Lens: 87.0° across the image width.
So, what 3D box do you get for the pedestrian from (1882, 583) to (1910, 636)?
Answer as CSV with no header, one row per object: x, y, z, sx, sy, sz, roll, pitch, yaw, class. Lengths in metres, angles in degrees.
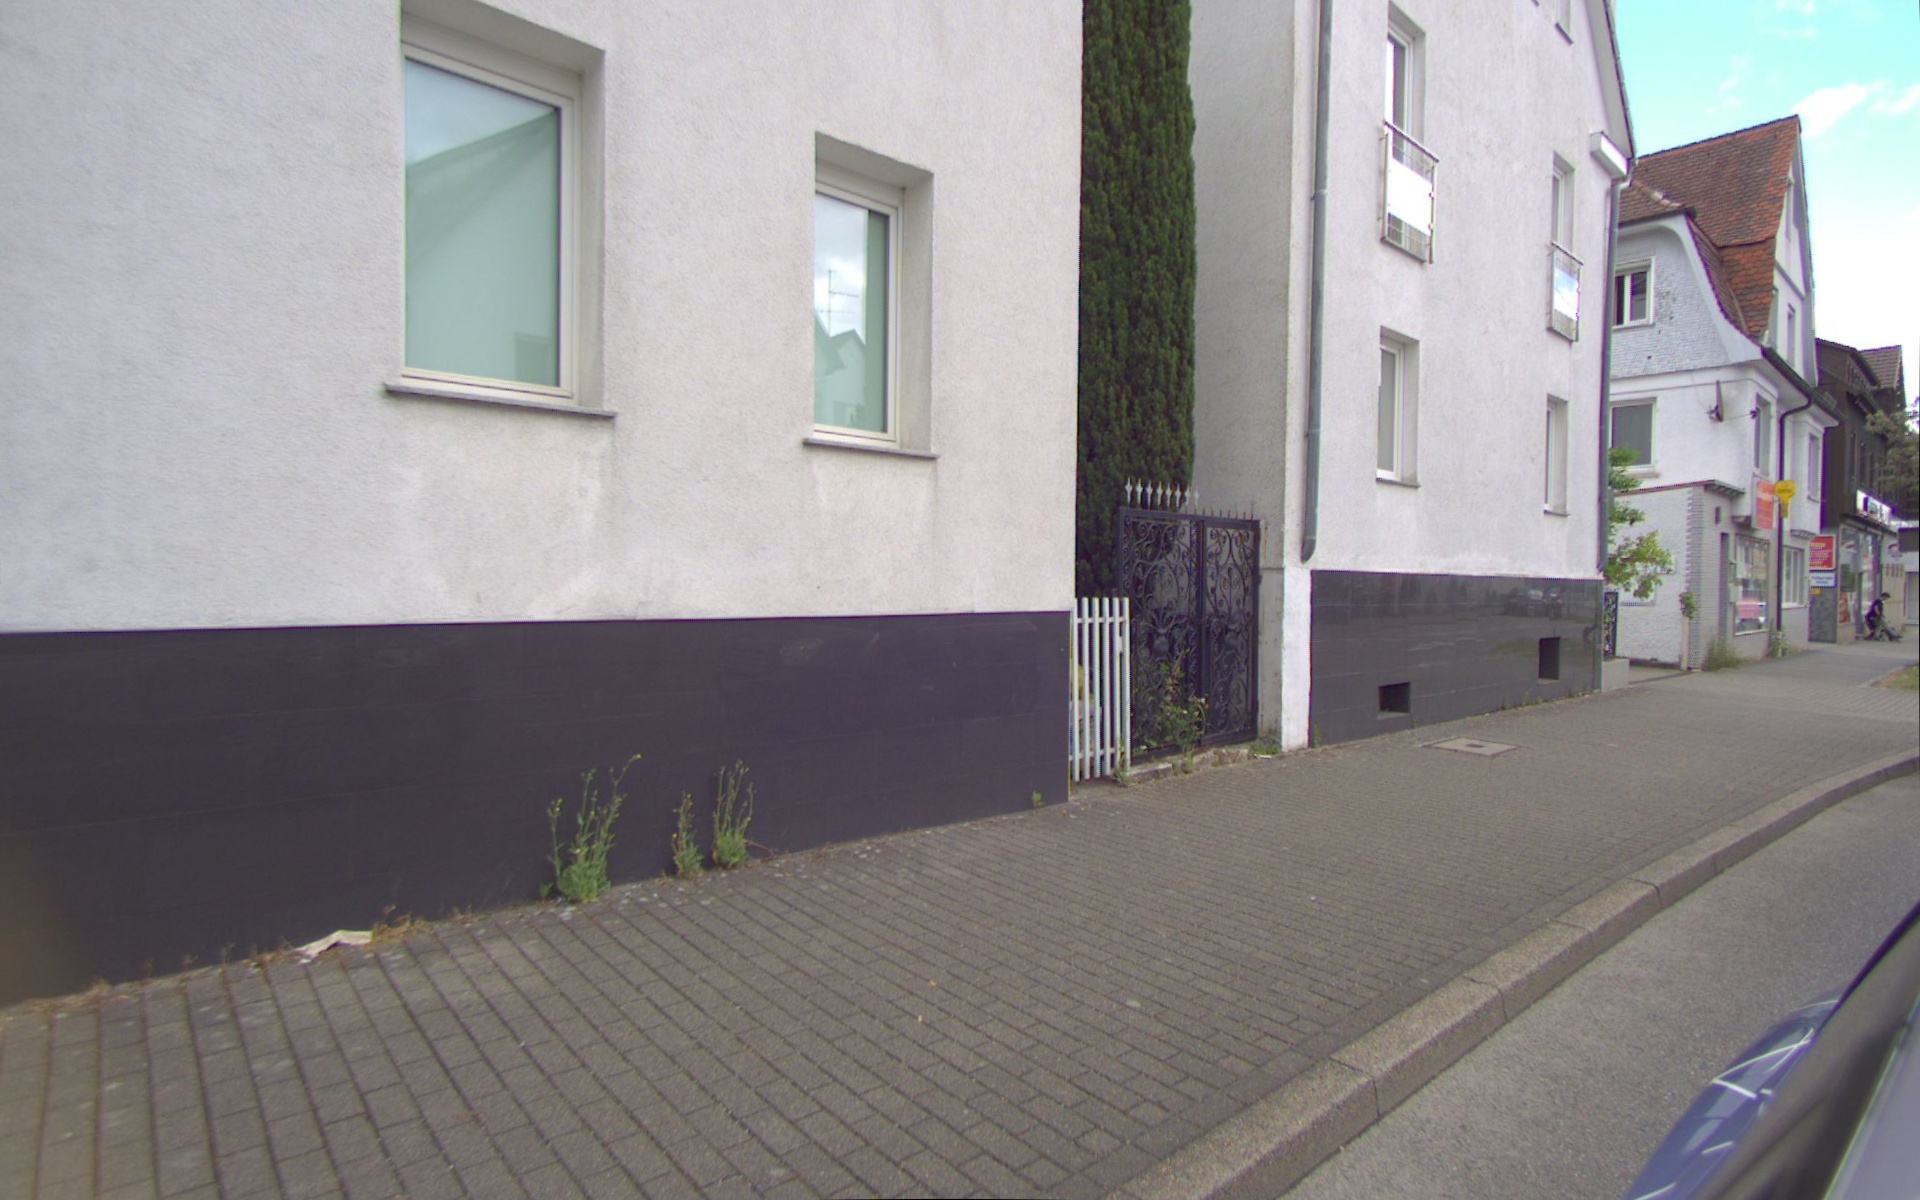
32.045,0.318,34.655,0.642,1.762,0.731,3,2,43,pedestrian

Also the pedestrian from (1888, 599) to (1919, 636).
32.726,0.612,35.075,0.633,1.226,0.741,0,2,-42,pedestrian
